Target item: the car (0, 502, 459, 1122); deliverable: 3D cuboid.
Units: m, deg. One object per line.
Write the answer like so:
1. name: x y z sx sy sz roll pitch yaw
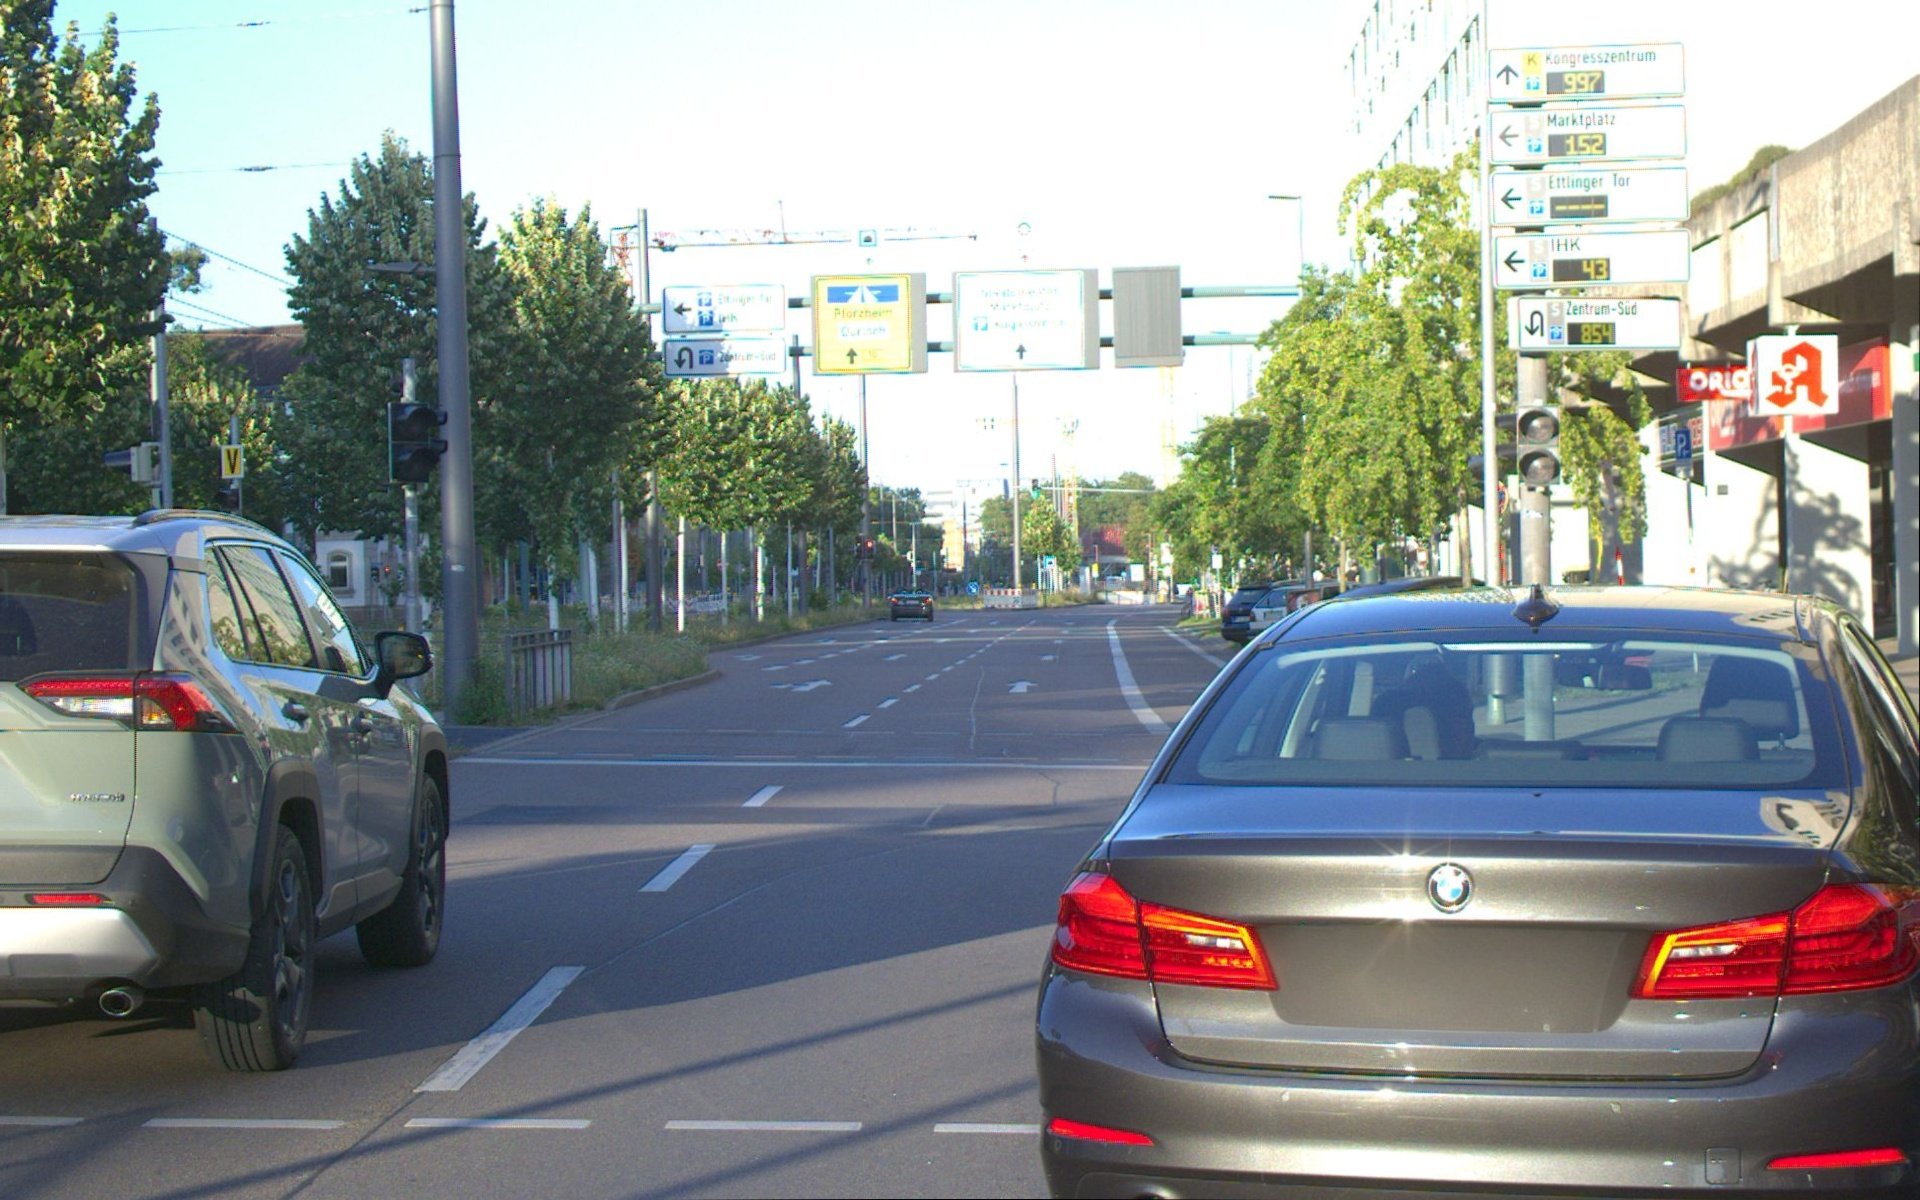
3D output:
1. car: -2.893 0.507 11.298 1.854 1.653 4.269 0 1 0

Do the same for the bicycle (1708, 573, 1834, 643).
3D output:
1. bicycle: 13.986 0.138 59.294 2.017 1.145 0.690 2 -1 7

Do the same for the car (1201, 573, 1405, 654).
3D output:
1. car: 7.531 0.273 75.430 4.255 1.653 1.860 -1 2 -34

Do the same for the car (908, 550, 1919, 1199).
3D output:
1. car: 1.443 0.654 7.994 1.933 1.476 4.519 1 2 16

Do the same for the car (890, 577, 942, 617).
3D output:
1. car: -1.725 -0.134 137.360 1.979 1.428 4.843 0 2 0

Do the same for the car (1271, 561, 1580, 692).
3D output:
1. car: 6.382 0.325 46.893 4.256 1.653 1.860 -1 2 -42

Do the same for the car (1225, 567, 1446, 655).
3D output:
1. car: 7.571 0.200 69.201 4.255 1.653 1.860 -1 2 -35
